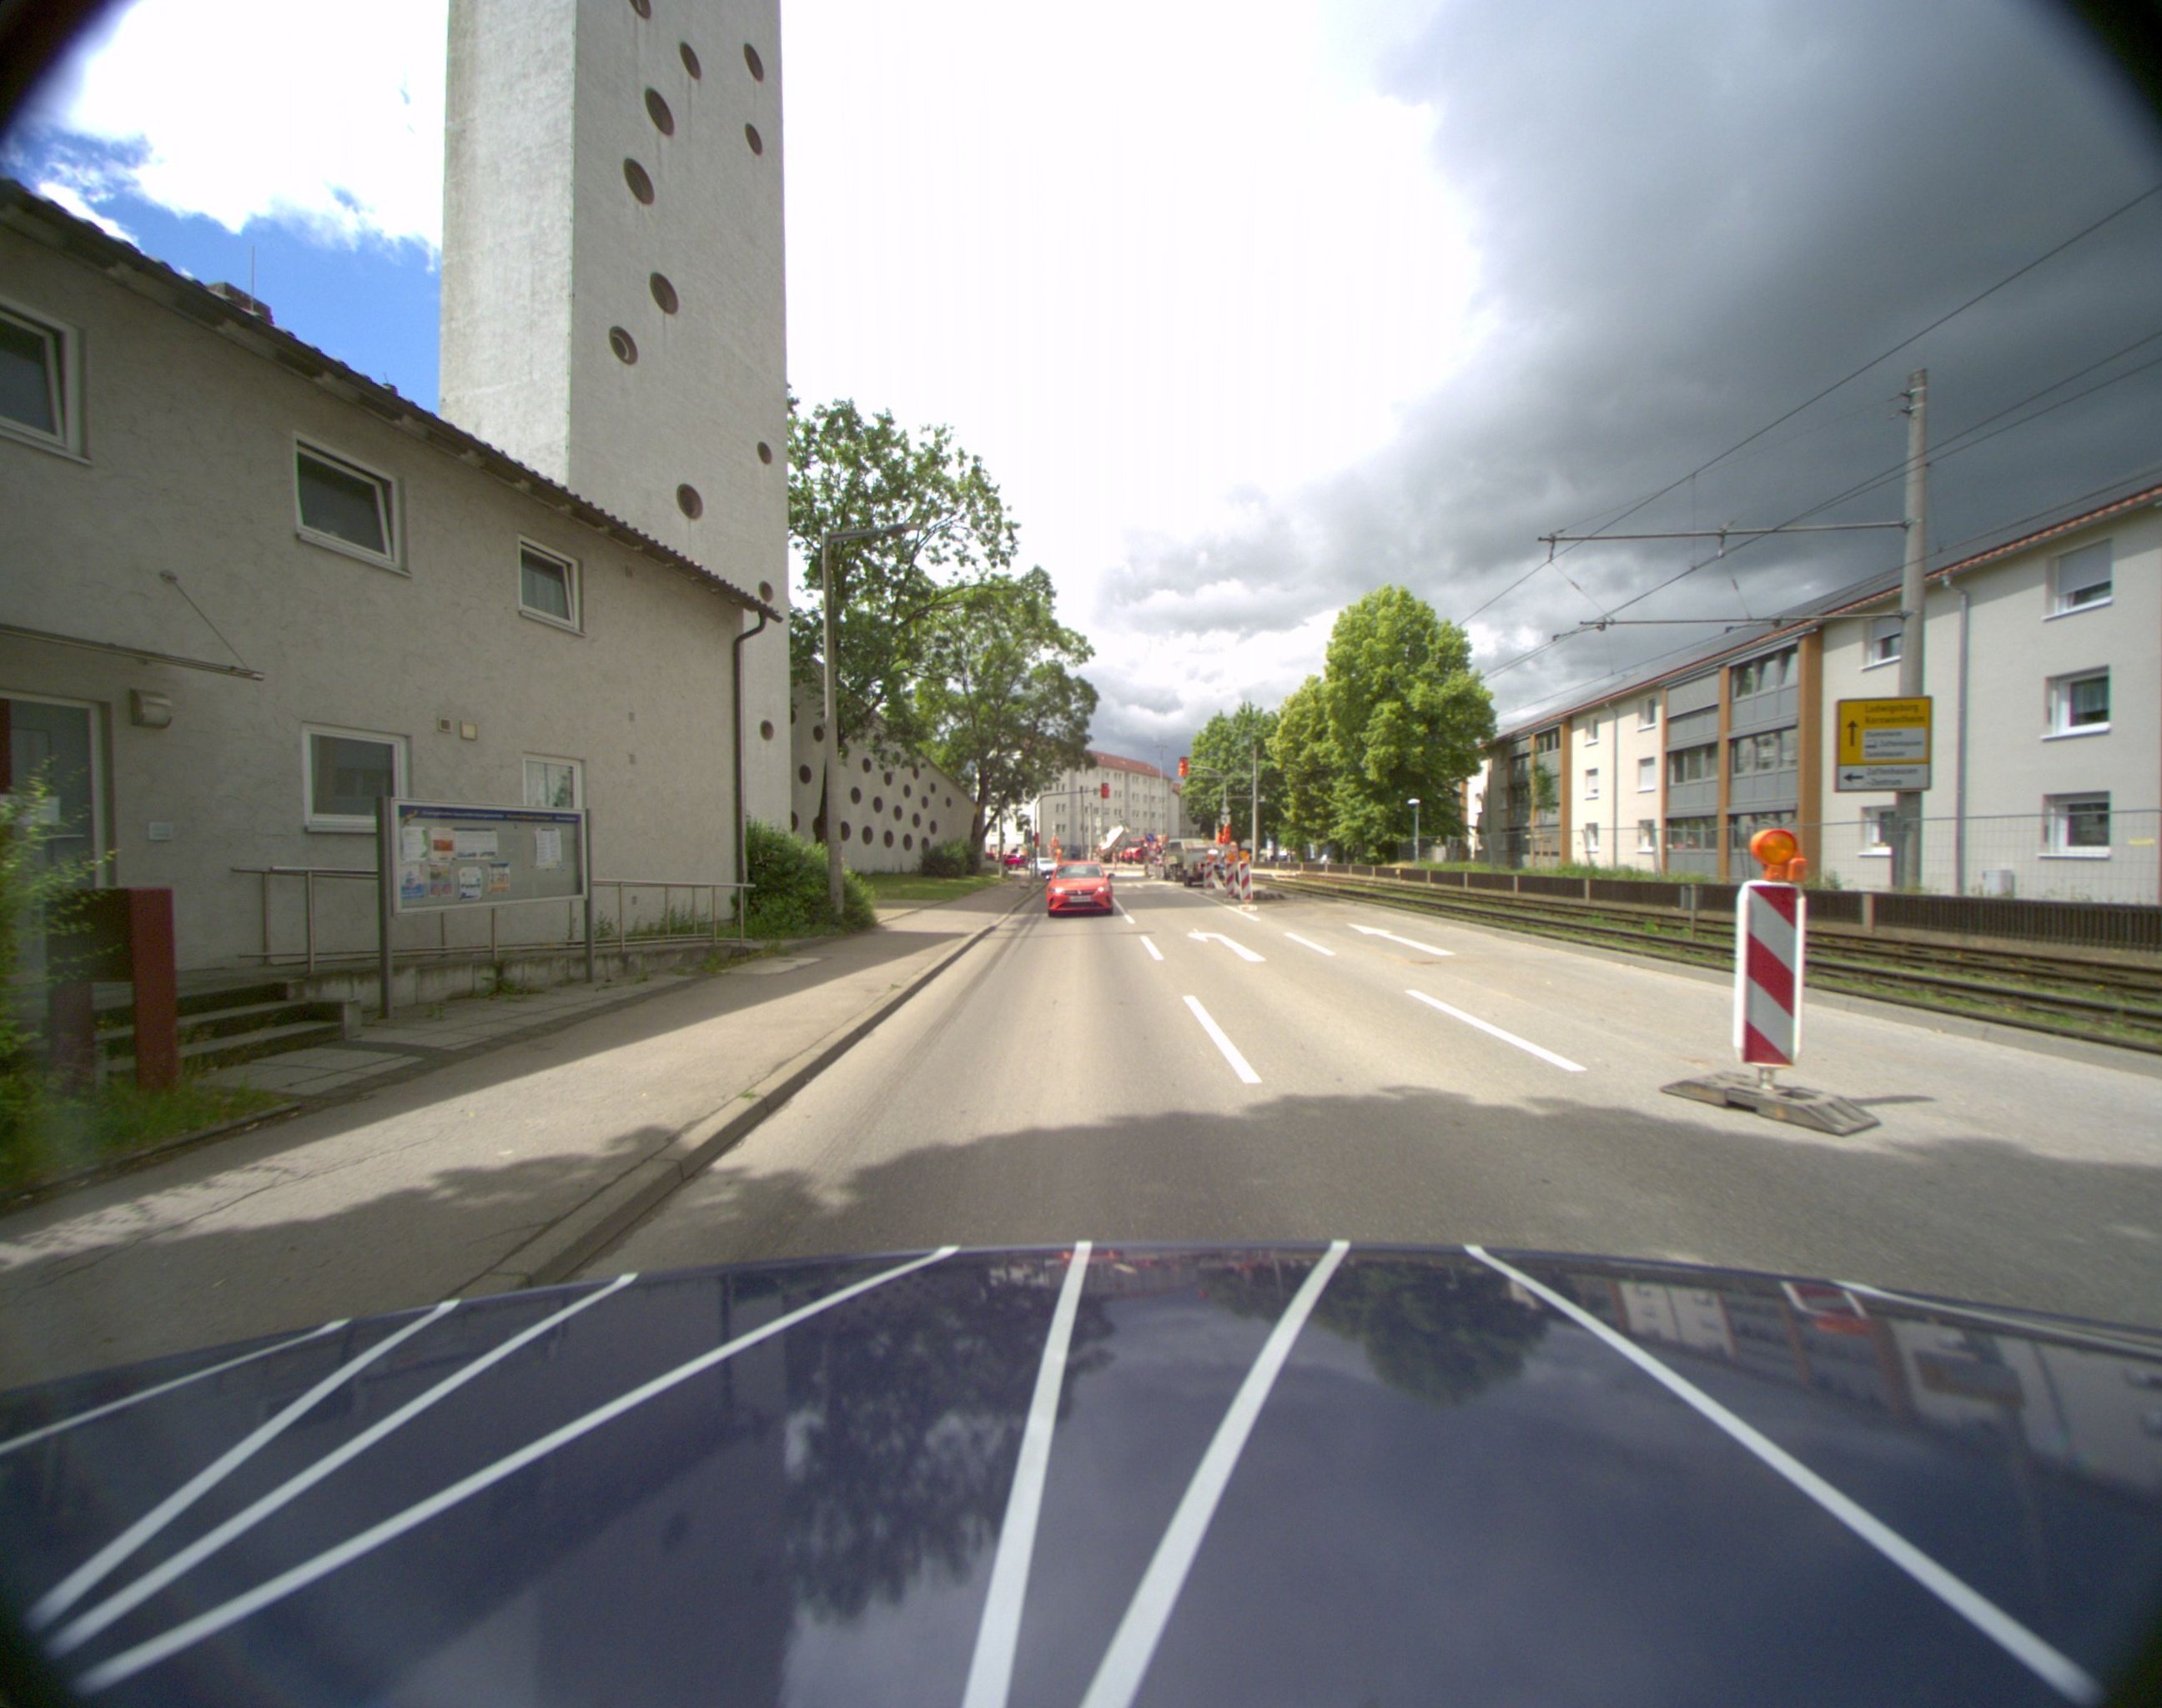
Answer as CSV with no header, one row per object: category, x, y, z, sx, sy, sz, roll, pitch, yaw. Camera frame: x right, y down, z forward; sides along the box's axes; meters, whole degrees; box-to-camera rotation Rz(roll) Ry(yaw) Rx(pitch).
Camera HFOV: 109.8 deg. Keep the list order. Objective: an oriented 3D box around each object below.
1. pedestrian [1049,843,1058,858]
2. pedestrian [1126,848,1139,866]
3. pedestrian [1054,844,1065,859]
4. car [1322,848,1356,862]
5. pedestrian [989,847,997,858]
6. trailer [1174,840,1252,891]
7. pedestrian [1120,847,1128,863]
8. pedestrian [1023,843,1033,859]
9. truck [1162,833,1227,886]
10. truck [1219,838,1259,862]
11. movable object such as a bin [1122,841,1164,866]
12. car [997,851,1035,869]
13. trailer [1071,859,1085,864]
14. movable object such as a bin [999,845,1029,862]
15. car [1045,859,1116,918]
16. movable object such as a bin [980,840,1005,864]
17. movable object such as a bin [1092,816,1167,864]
pedestrian,-3.377,-0.417,92.748,0.882,1.897,0.666,-1,2,-23
pedestrian,5.322,0.285,78.663,0.969,1.822,0.798,1,3,44
pedestrian,-2.550,-0.328,91.802,0.872,1.813,1.098,0,1,28
car,26.661,0.134,78.601,3.197,1.446,1.566,0,0,15
pedestrian,-9.268,-0.181,80.454,0.615,1.209,0.552,0,1,39
trailer,6.314,0.506,37.194,2.669,2.201,6.247,-2,0,0
pedestrian,4.822,0.138,85.406,0.611,1.778,0.583,-2,0,31
pedestrian,-6.081,-0.366,87.124,0.767,1.828,0.785,0,1,26
truck,6.359,0.260,43.522,2.669,2.709,6.394,-2,1,0
truck,17.175,-0.418,82.271,2.412,2.553,5.594,0,1,33
movable object such as a bin,6.912,-0.115,83.482,2.110,2.653,5.598,0,2,34
car,-6.421,0.604,74.630,1.852,1.608,4.232,-3,0,-35
trailer,-0.387,0.857,88.793,0.799,0.612,1.593,0,0,-38
movable object such as a bin,-7.806,-0.059,88.405,2.959,2.002,2.004,0,0,37
car,0.071,0.927,21.814,1.769,1.425,3.839,-3,0,3
movable object such as a bin,-9.497,-0.225,81.131,2.355,2.579,1.323,0,2,39
movable object such as a bin,5.773,-1.581,89.450,9.052,5.453,2.814,0,0,-34
